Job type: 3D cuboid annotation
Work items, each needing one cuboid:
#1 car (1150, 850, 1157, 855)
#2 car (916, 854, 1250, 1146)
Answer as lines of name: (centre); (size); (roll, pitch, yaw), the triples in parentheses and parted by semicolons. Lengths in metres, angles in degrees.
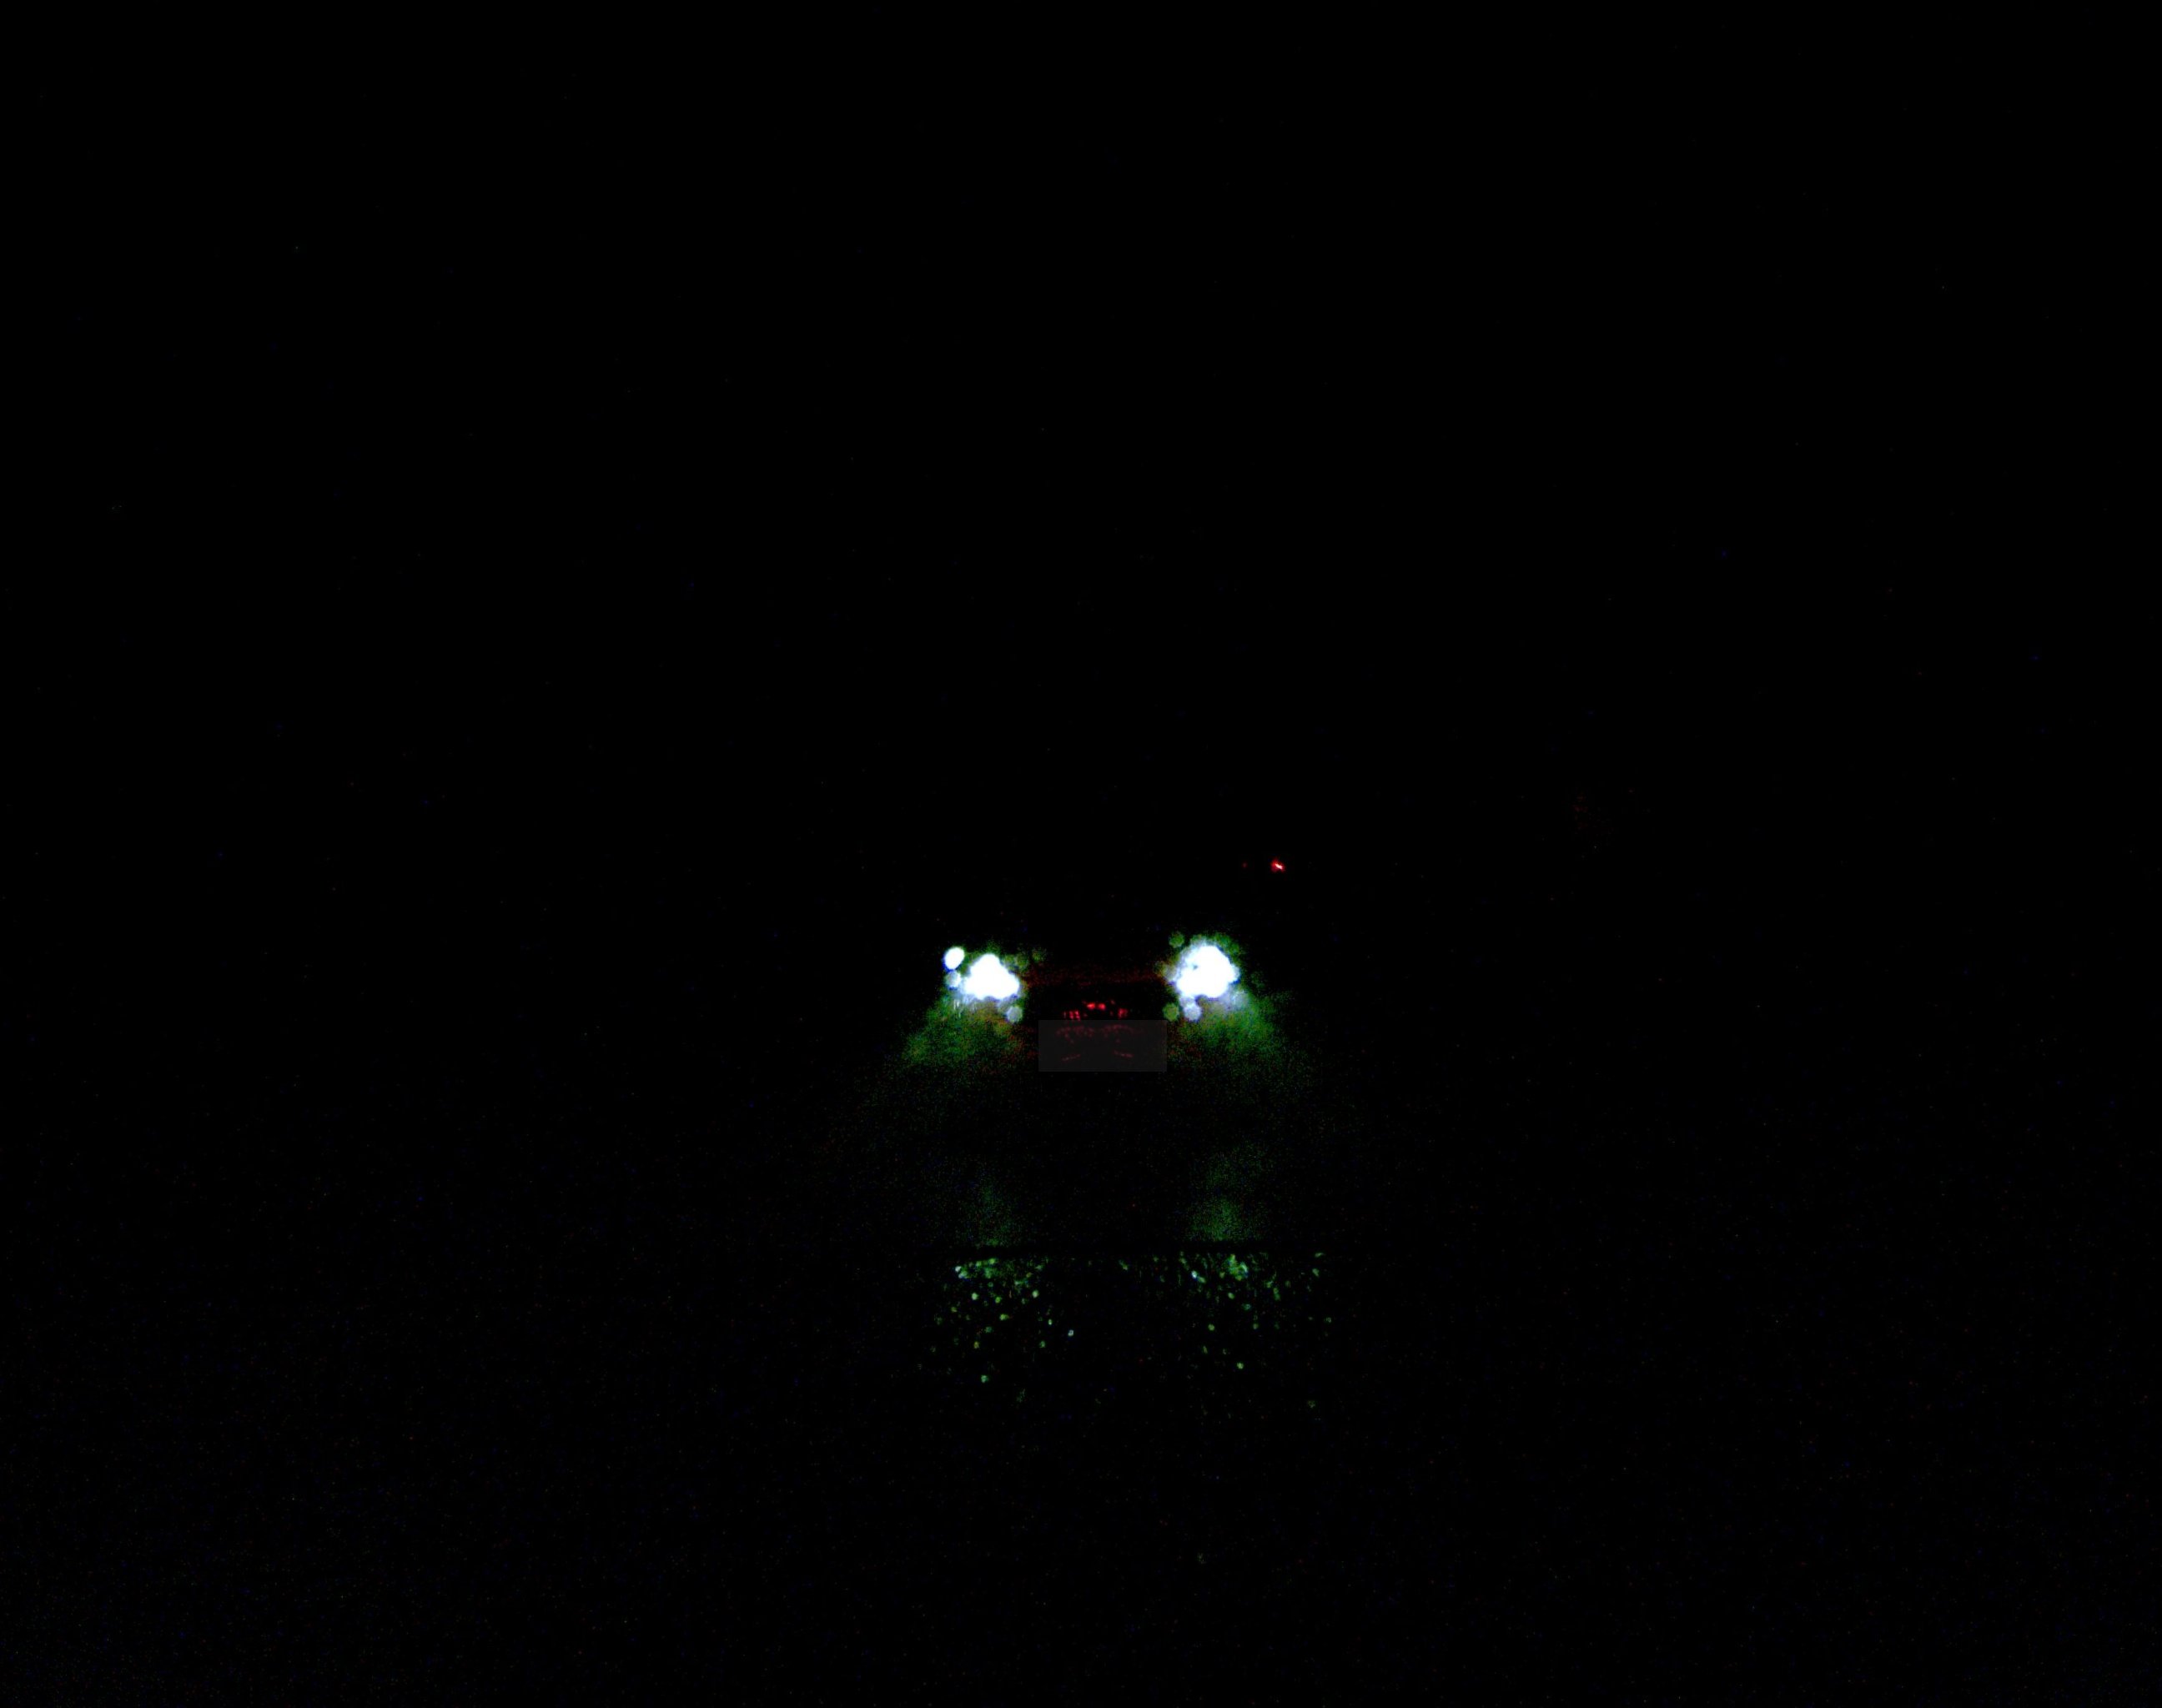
car: (20.560, -0.410, 215.465); (1.867, 1.535, 4.230); (-2, -1, 2)
car: (0.076, 0.852, 6.611); (1.862, 1.601, 4.420); (-3, 0, 2)
